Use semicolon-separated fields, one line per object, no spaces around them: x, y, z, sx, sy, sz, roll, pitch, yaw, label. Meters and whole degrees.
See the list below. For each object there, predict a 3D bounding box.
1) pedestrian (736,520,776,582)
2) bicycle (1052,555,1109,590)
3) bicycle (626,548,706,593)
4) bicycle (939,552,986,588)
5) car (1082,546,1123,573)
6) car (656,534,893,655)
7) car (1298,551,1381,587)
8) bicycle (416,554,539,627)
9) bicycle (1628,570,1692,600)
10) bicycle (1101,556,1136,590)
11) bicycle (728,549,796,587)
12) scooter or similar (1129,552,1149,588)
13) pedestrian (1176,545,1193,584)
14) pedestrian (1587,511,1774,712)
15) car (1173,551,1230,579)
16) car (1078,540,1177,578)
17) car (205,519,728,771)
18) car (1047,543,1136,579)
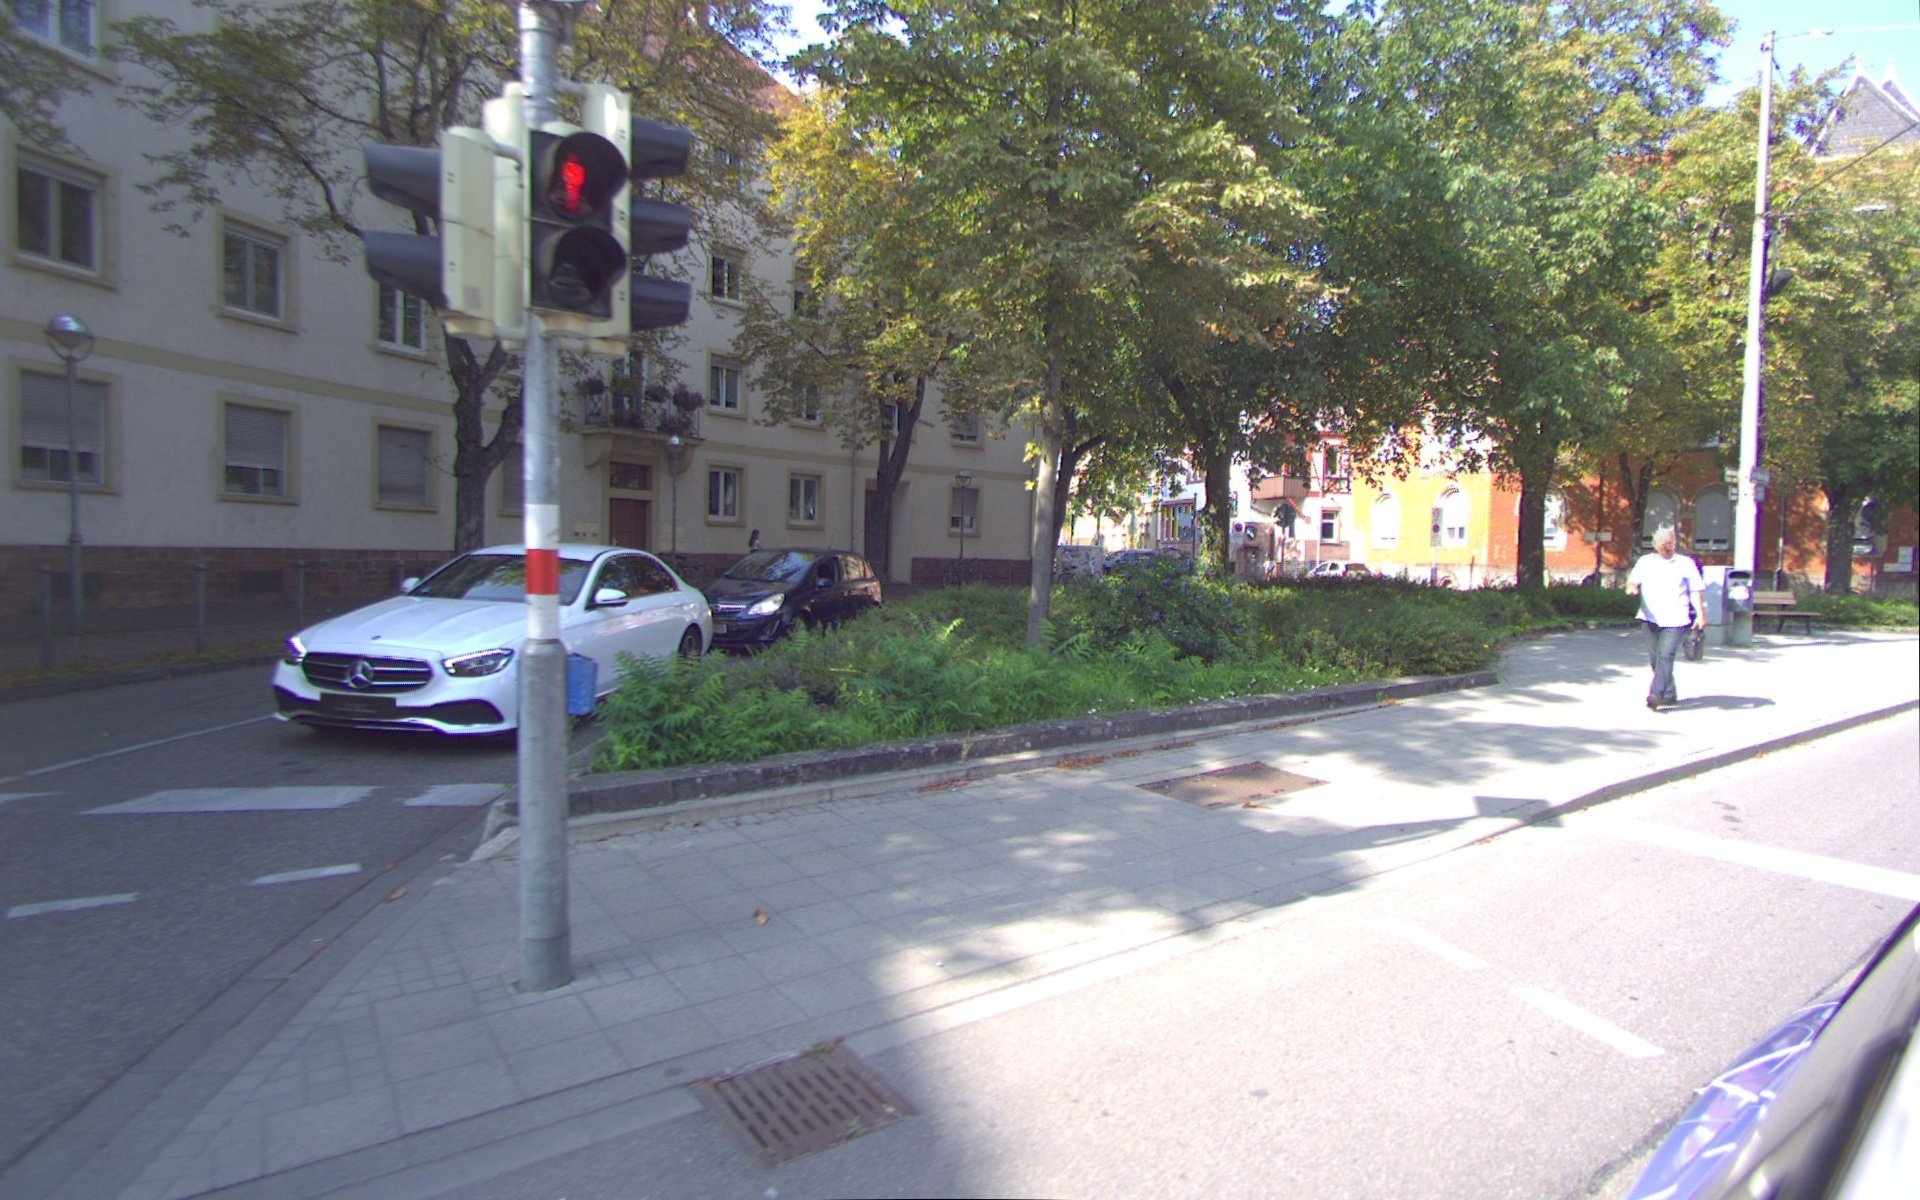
-5.629;-1.356;27.936;0.686;1.691;0.853;3;3;42;pedestrian
3.967;-0.920;33.429;0.599;1.071;1.865;-1;3;-44;bicycle
-6.816;-0.697;23.567;0.531;1.019;1.887;3;3;33;bicycle
0.081;-0.942;31.393;1.459;1.072;0.417;-1;4;-32;bicycle
10.509;-3.012;75.078;1.588;1.945;4.010;0;3;-14;car
-2.573;-0.159;15.001;1.730;1.469;3.866;4;3;19;car
17.679;-1.469;47.294;1.588;1.586;4.010;0;3;-14;car
-7.652;-0.152;16.146;0.601;1.071;1.826;2;1;22;bicycle
25.005;-0.525;36.170;1.807;1.072;0.607;0;-1;6;bicycle
5.254;-0.903;33.622;0.596;1.071;1.843;1;3;-9;bicycle
-5.447;-0.889;27.906;0.532;1.019;1.881;3;3;42;bicycle
6.075;-1.027;34.347;0.433;1.172;1.114;1;2;-1;scooter or similar
10.330;-1.632;46.573;0.646;1.785;0.604;2;2;16;pedestrian
6.869;0.065;9.677;0.951;1.744;1.081;-1;6;-36;pedestrian
14.254;-2.109;59.951;1.588;1.586;4.010;0;3;-14;car
7.610;-1.869;46.061;4.107;1.658;1.667;0;3;-15;car
-3.754;0.142;8.933;1.843;1.486;4.950;4;3;5;car
6.663;-1.975;51.301;4.106;1.480;1.667;3;2;-21;car
